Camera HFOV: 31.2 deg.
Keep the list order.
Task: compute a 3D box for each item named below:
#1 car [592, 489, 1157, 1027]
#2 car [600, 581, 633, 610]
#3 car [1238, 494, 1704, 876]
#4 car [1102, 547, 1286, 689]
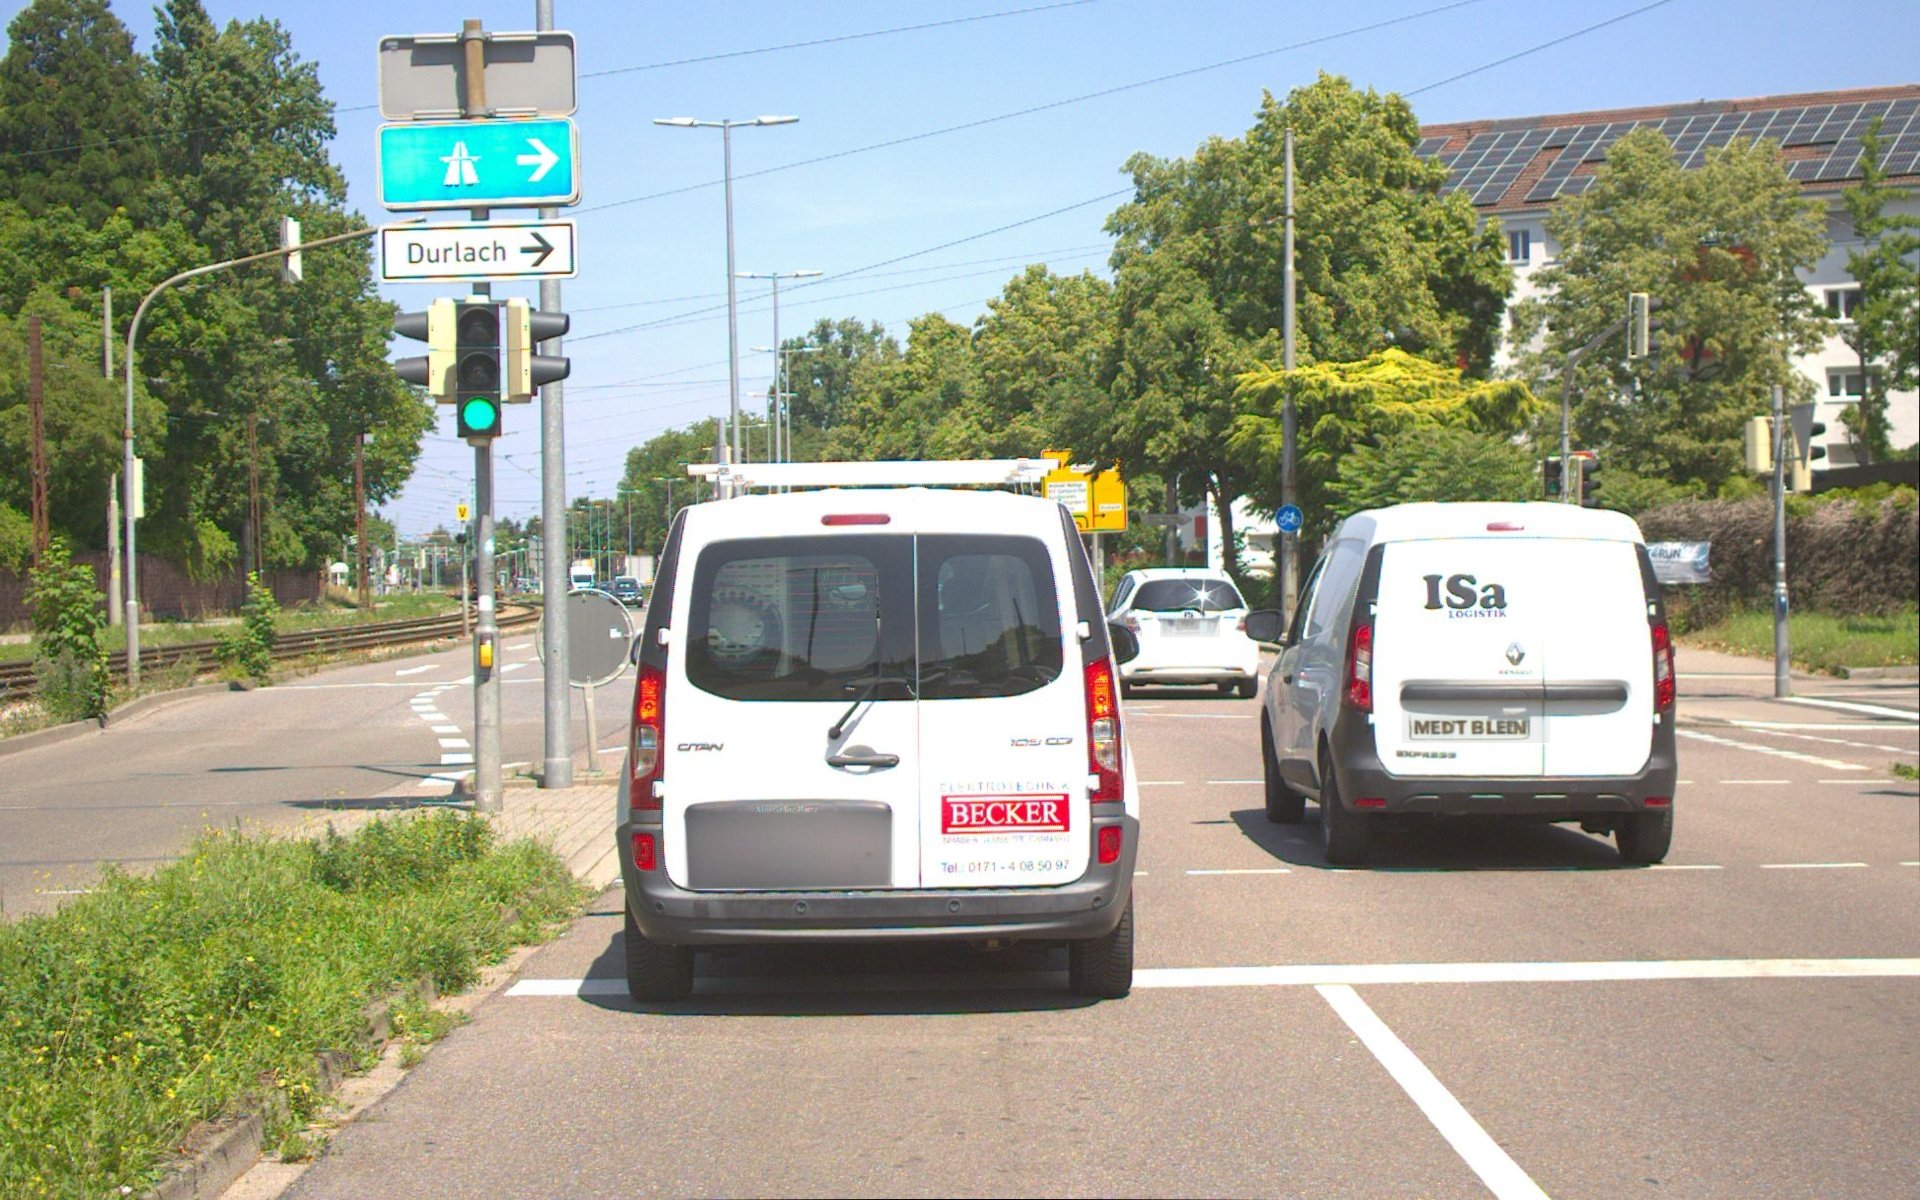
[{"bbox_3d":[-0.312,0.486,13.349,1.821,1.734,4.396,0,1,-1],"label":"car"},{"bbox_3d":[-18.717,-0.248,187.014,1.697,1.507,4.067,-1,1,-6],"label":"car"},{"bbox_3d":[2.582,0.388,18.279,1.727,1.782,4.065,1,0,-2],"label":"car"},{"bbox_3d":[2.725,0.175,40.878,1.835,1.563,4.000,1,1,-1],"label":"car"}]
